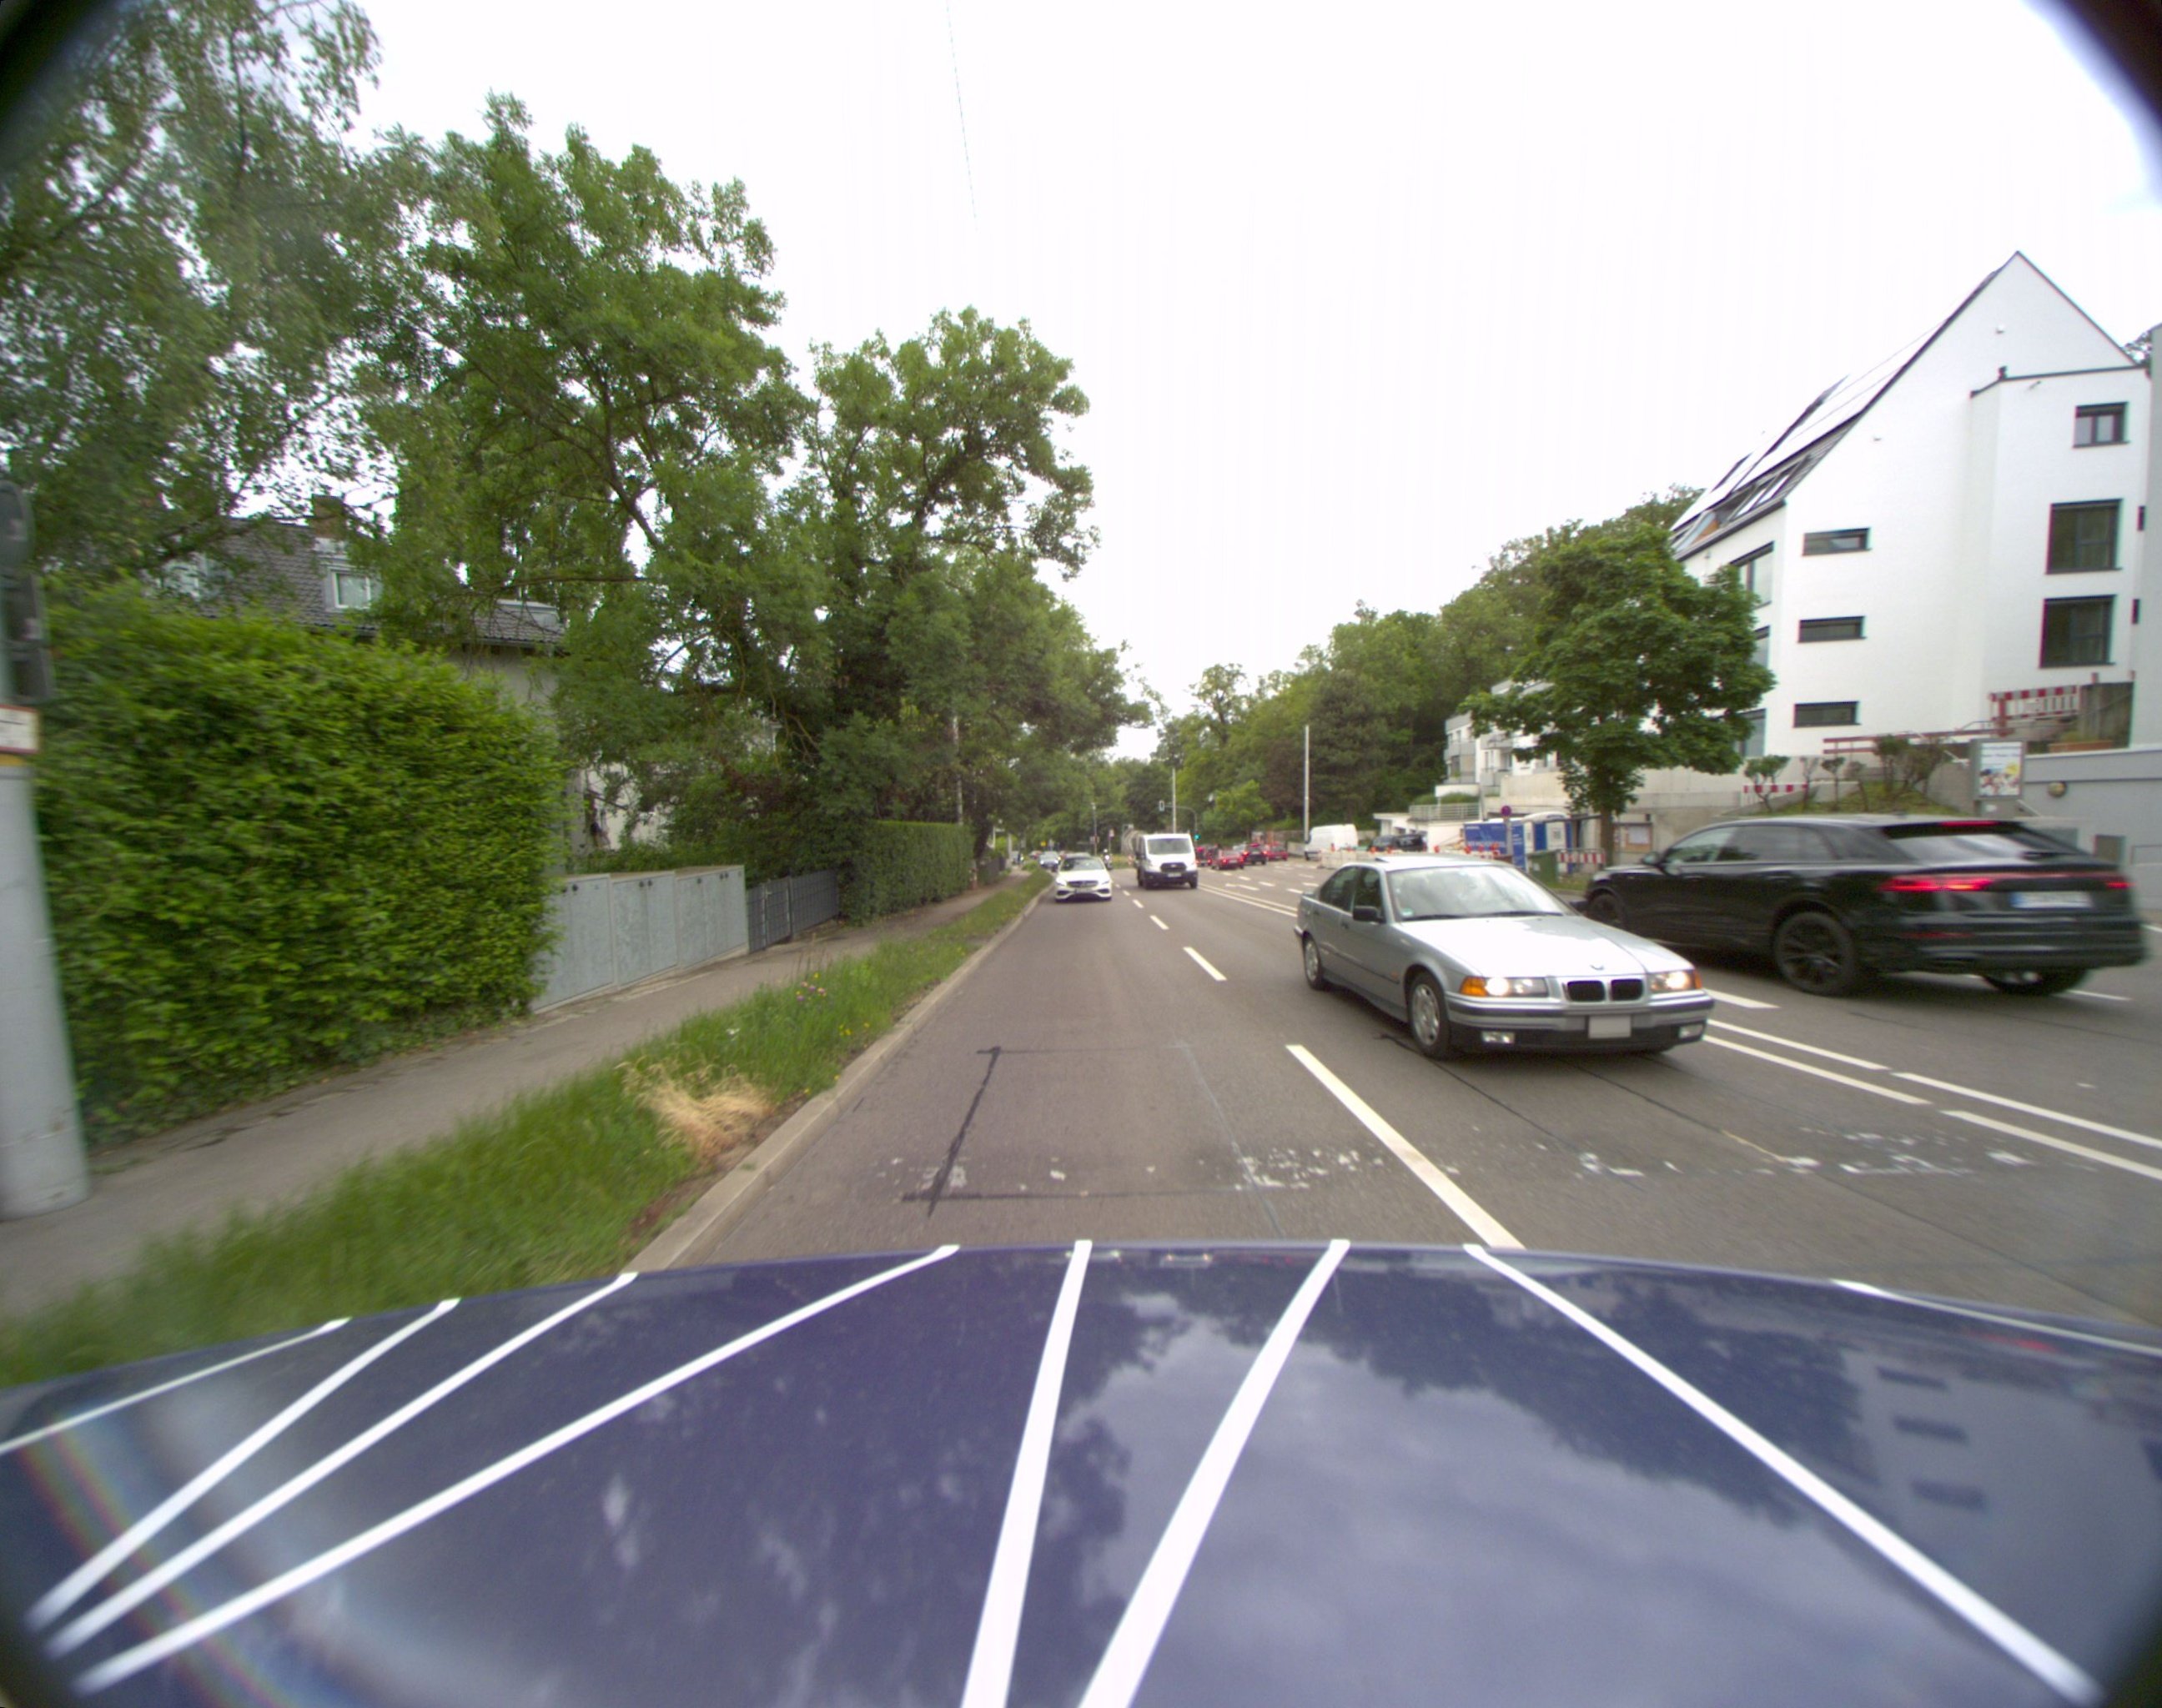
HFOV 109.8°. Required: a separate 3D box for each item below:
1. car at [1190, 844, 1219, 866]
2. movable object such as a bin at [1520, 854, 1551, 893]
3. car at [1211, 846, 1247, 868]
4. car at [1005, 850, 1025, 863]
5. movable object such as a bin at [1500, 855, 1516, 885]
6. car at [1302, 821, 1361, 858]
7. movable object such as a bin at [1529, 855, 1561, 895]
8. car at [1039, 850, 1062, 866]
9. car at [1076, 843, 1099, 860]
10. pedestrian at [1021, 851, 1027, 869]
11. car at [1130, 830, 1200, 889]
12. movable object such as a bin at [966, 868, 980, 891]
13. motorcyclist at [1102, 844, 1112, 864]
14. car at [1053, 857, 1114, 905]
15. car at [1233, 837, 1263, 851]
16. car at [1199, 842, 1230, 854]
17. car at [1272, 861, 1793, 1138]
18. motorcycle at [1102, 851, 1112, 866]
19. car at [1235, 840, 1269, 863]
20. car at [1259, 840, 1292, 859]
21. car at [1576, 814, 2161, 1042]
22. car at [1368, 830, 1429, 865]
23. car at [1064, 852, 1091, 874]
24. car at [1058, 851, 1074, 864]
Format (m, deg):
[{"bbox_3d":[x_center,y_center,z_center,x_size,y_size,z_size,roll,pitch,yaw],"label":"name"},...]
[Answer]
[{"bbox_3d":[9.768,0.047,60.441,1.779,1.588,4.664,-2,1,3],"label":"car"},{"bbox_3d":[13.796,0.587,23.072,0.586,1.131,0.586,-2,1,7],"label":"movable object such as a bin"},{"bbox_3d":[9.855,0.162,50.733,1.752,1.373,4.322,-2,1,3],"label":"car"},{"bbox_3d":[-8.925,0.282,102.261,2.001,1.647,4.430,-2,1,-15],"label":"car"},{"bbox_3d":[14.228,0.536,25.310,0.327,0.970,0.425,-2,1,7],"label":"movable object such as a bin"},{"bbox_3d":[18.635,-1.050,56.806,1.999,2.512,6.532,-2,1,-2],"label":"car"},{"bbox_3d":[13.714,0.612,22.459,0.589,1.131,0.645,-2,1,7],"label":"movable object such as a bin"},{"bbox_3d":[-3.034,0.356,75.062,1.676,1.523,3.996,-2,1,-10],"label":"car"},{"bbox_3d":[0.609,-0.232,71.025,1.999,1.540,3.999,-1,0,-1],"label":"car"},{"bbox_3d":[-5.838,0.578,77.646,0.513,1.824,0.494,-2,1,-1],"label":"pedestrian"},{"bbox_3d":[3.358,0.219,31.495,1.999,2.161,6.267,-1,0,-2],"label":"car"},{"bbox_3d":[-4.408,1.058,31.075,0.474,0.906,0.454,-2,1,1],"label":"movable object such as a bin"},{"bbox_3d":[2.023,0.010,59.058,0.619,1.463,0.930,-4,1,-3],"label":"motorcyclist"},{"bbox_3d":[0.036,0.835,25.170,1.821,1.339,3.999,-2,1,-2],"label":"car"},{"bbox_3d":[18.620,-1.112,84.708,3.301,1.434,1.579,-2,1,-40],"label":"car"},{"bbox_3d":[14.678,-0.646,83.797,1.569,1.277,3.287,-2,1,-29],"label":"car"},{"bbox_3d":[3.063,0.819,6.470,1.639,1.375,4.619,-2,1,-1],"label":"car"},{"bbox_3d":[2.024,0.361,59.341,0.574,1.120,2.295,-4,1,-3],"label":"motorcycle"},{"bbox_3d":[12.894,-0.217,57.388,1.779,1.588,4.226,-2,1,3],"label":"car"},{"bbox_3d":[16.067,-0.367,62.869,1.582,1.434,3.293,-2,1,-4],"label":"car"},{"bbox_3d":[7.618,0.526,8.023,1.851,1.693,4.763,-1,1,2],"label":"car"},{"bbox_3d":[17.287,-0.347,41.551,1.810,1.741,4.251,-2,1,5],"label":"car"},{"bbox_3d":[-0.287,0.634,54.947,1.734,1.403,3.998,-2,1,-3],"label":"car"},{"bbox_3d":[-2.413,0.502,118.318,2.000,1.880,3.997,-1,1,-8],"label":"car"}]
